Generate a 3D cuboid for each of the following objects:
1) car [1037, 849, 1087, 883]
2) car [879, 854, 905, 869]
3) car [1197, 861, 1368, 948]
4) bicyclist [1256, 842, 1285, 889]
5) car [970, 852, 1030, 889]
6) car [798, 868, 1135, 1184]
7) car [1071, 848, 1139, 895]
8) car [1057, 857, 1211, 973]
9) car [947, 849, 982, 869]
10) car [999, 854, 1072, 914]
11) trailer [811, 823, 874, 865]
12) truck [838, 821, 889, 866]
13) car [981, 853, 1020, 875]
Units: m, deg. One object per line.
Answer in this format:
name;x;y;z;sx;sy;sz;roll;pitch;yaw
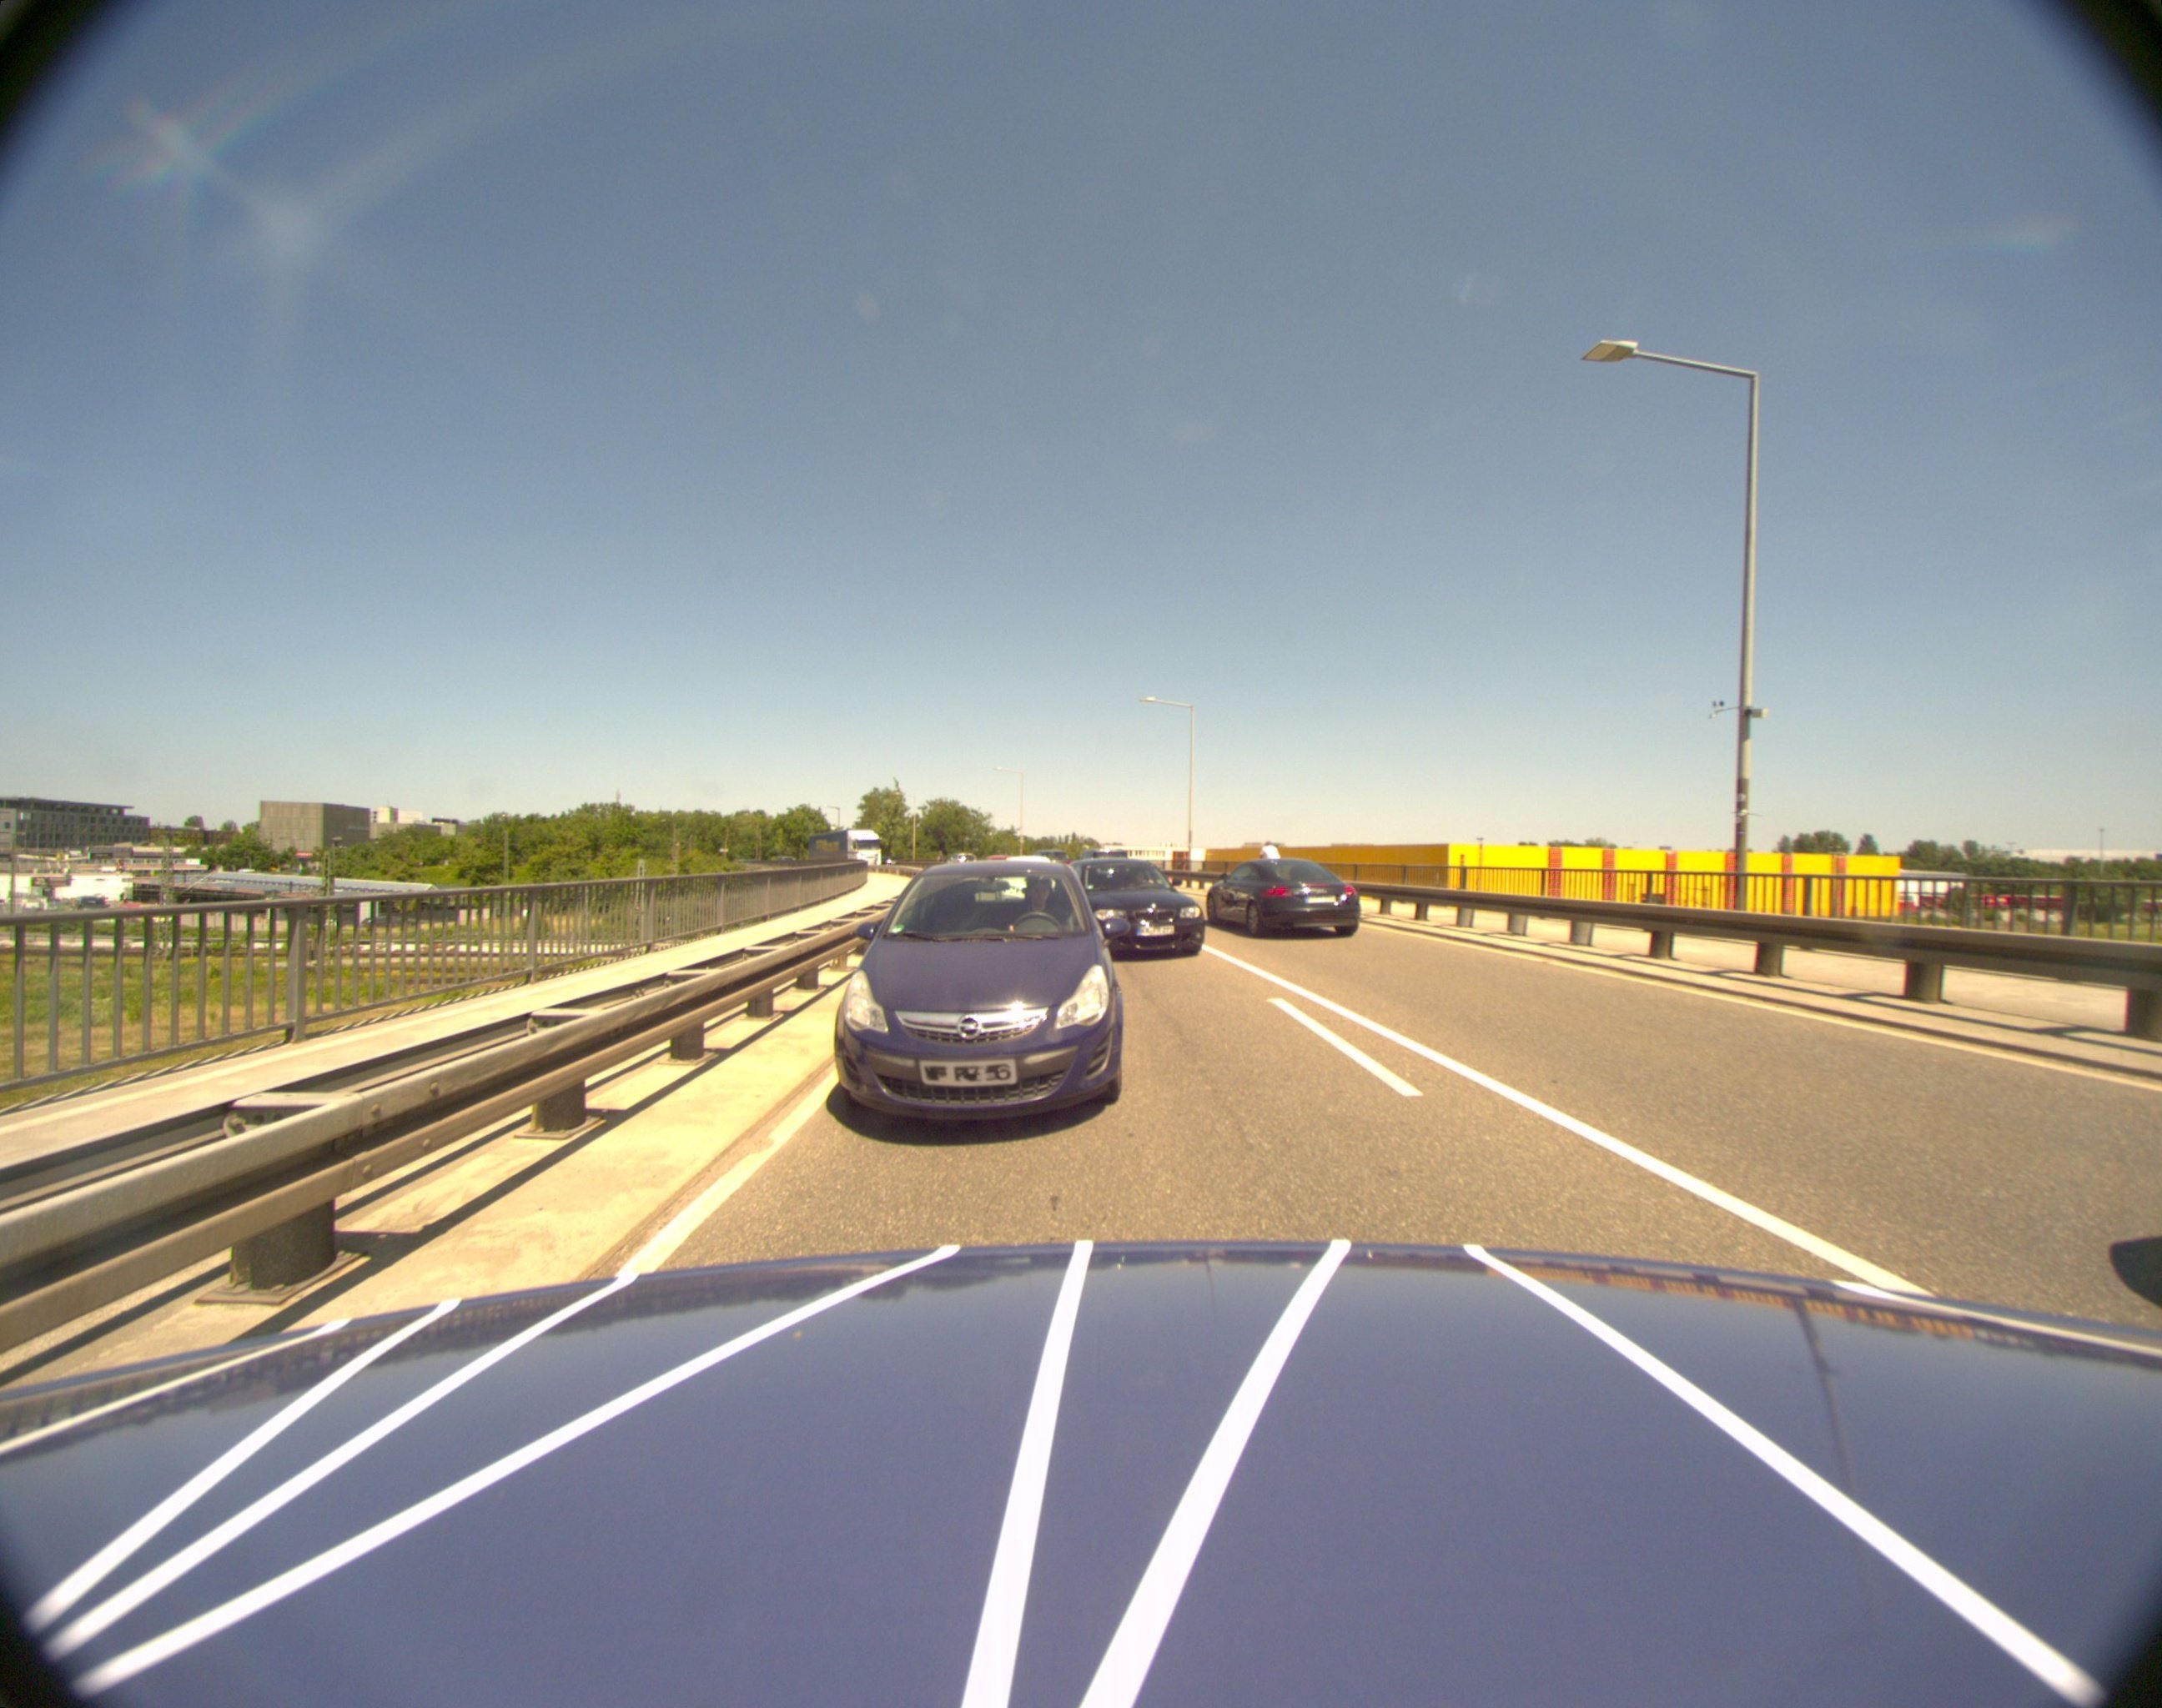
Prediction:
car;-1.053;0.565;39.176;1.807;1.631;4.295;-1;0;-12
car;-19.972;0.780;80.344;1.780;1.430;4.382;-1;1;-26
car;3.538;0.820;14.111;1.683;1.300;3.970;-1;0;-7
bicyclist;6.230;0.372;25.060;0.585;1.512;0.895;-1;1;-11
car;-3.600;0.667;32.907;1.797;1.447;4.516;-2;1;-16
car;-0.686;0.897;5.830;1.645;1.431;3.998;-2;1;-4
car;0.828;0.597;28.869;1.712;1.617;4.248;-1;1;-10
car;0.642;0.823;12.416;1.795;1.447;4.520;-1;1;-5
car;-9.537;0.390;61.915;1.744;1.571;4.168;-1;1;-24
car;-1.399;0.757;21.765;1.795;1.447;4.520;-2;1;-7
trailer;-25.991;-1.019;82.251;2.707;4.211;12.679;-3;2;-35
truck;-21.886;-1.016;76.289;2.701;4.205;6.821;-3;2;-34
car;-5.498;0.651;51.508;1.704;1.368;3.992;-1;1;-21
